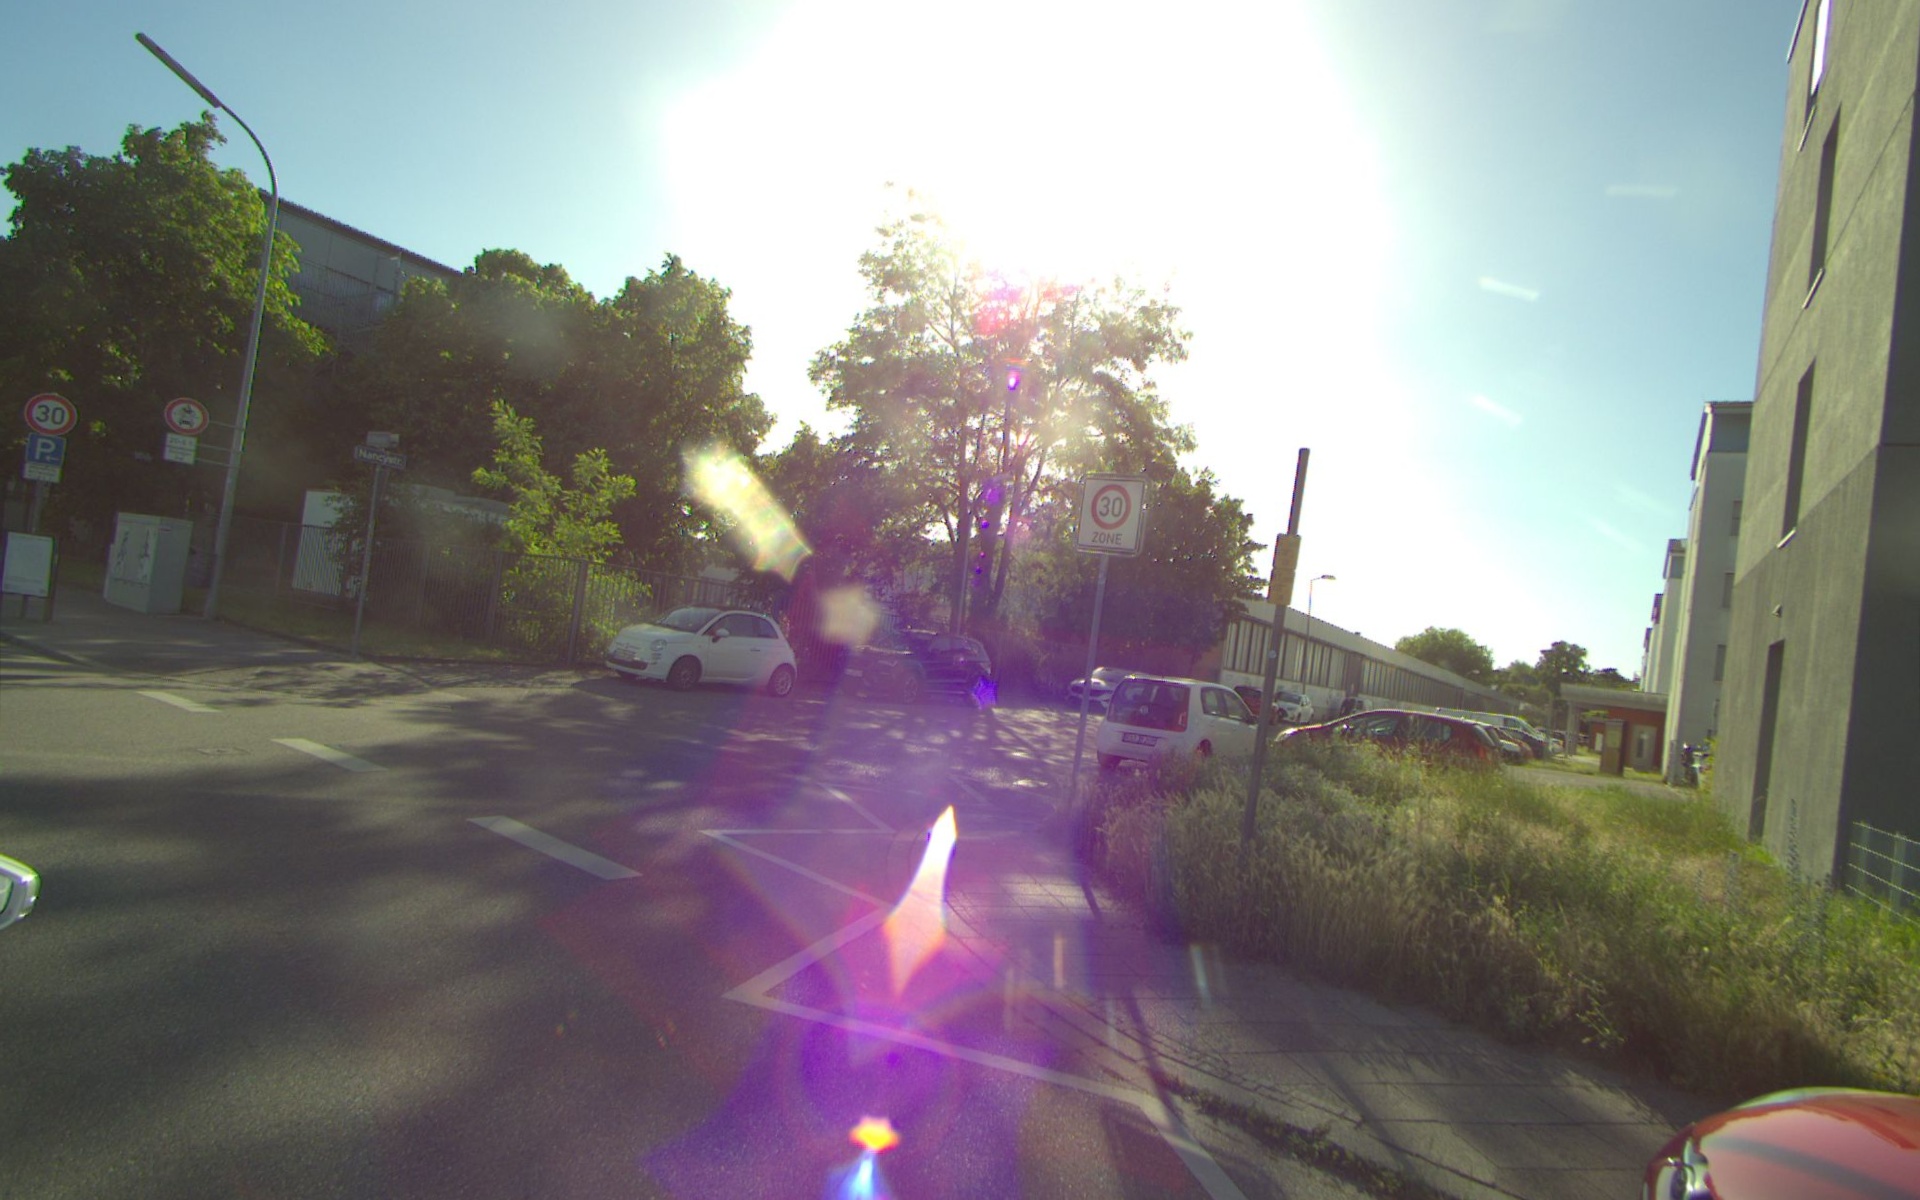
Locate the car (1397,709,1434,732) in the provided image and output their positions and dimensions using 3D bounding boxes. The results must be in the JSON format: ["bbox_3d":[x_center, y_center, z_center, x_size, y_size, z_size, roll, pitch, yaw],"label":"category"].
[{"bbox_3d":[35.961,9.510,79.428,1.956,1.453,3.994,6,-3,34],"label":"car"}]

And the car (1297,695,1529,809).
[{"bbox_3d":[9.098,2.979,20.299,3.936,1.538,1.695,6,-2,34],"label":"car"}]

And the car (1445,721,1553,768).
[{"bbox_3d":[23.998,6.400,44.851,4.021,1.364,1.760,6,-2,33],"label":"car"}]

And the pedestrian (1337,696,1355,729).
[{"bbox_3d":[20.681,6.013,53.916,0.657,1.680,0.486,7,-1,33],"label":"pedestrian"}]

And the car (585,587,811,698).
[{"bbox_3d":[-4.480,0.802,17.662,1.575,1.502,3.552,7,-3,34],"label":"car"}]

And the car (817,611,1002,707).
[{"bbox_3d":[-1.022,1.366,22.405,1.729,1.655,4.156,6,-3,36],"label":"car"}]

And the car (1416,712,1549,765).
[{"bbox_3d":[21.150,5.573,40.795,4.527,1.364,1.997,6,-2,33],"label":"car"}]

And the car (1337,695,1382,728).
[{"bbox_3d":[24.731,6.891,62.180,1.684,1.687,3.994,6,-3,34],"label":"car"}]

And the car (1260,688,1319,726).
[{"bbox_3d":[15.744,5.129,47.987,1.683,1.453,3.996,7,-3,31],"label":"car"}]

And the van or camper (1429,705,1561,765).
[{"bbox_3d":[25.499,6.398,48.052,5.214,1.980,1.996,6,-2,36],"label":"van or camper"}]

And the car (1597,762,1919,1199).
[{"bbox_3d":[3.259,1.312,0.948,4.379,1.516,1.823,6,-3,32],"label":"car"}]

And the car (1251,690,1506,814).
[{"bbox_3d":[7.594,2.684,18.371,3.936,1.487,1.695,6,-2,34],"label":"car"}]

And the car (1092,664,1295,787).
[{"bbox_3d":[3.670,1.930,15.484,1.689,1.474,3.328,6,-3,38],"label":"car"}]

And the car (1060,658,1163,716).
[{"bbox_3d":[4.888,2.799,31.980,1.683,1.453,3.996,7,-3,31],"label":"car"}]
